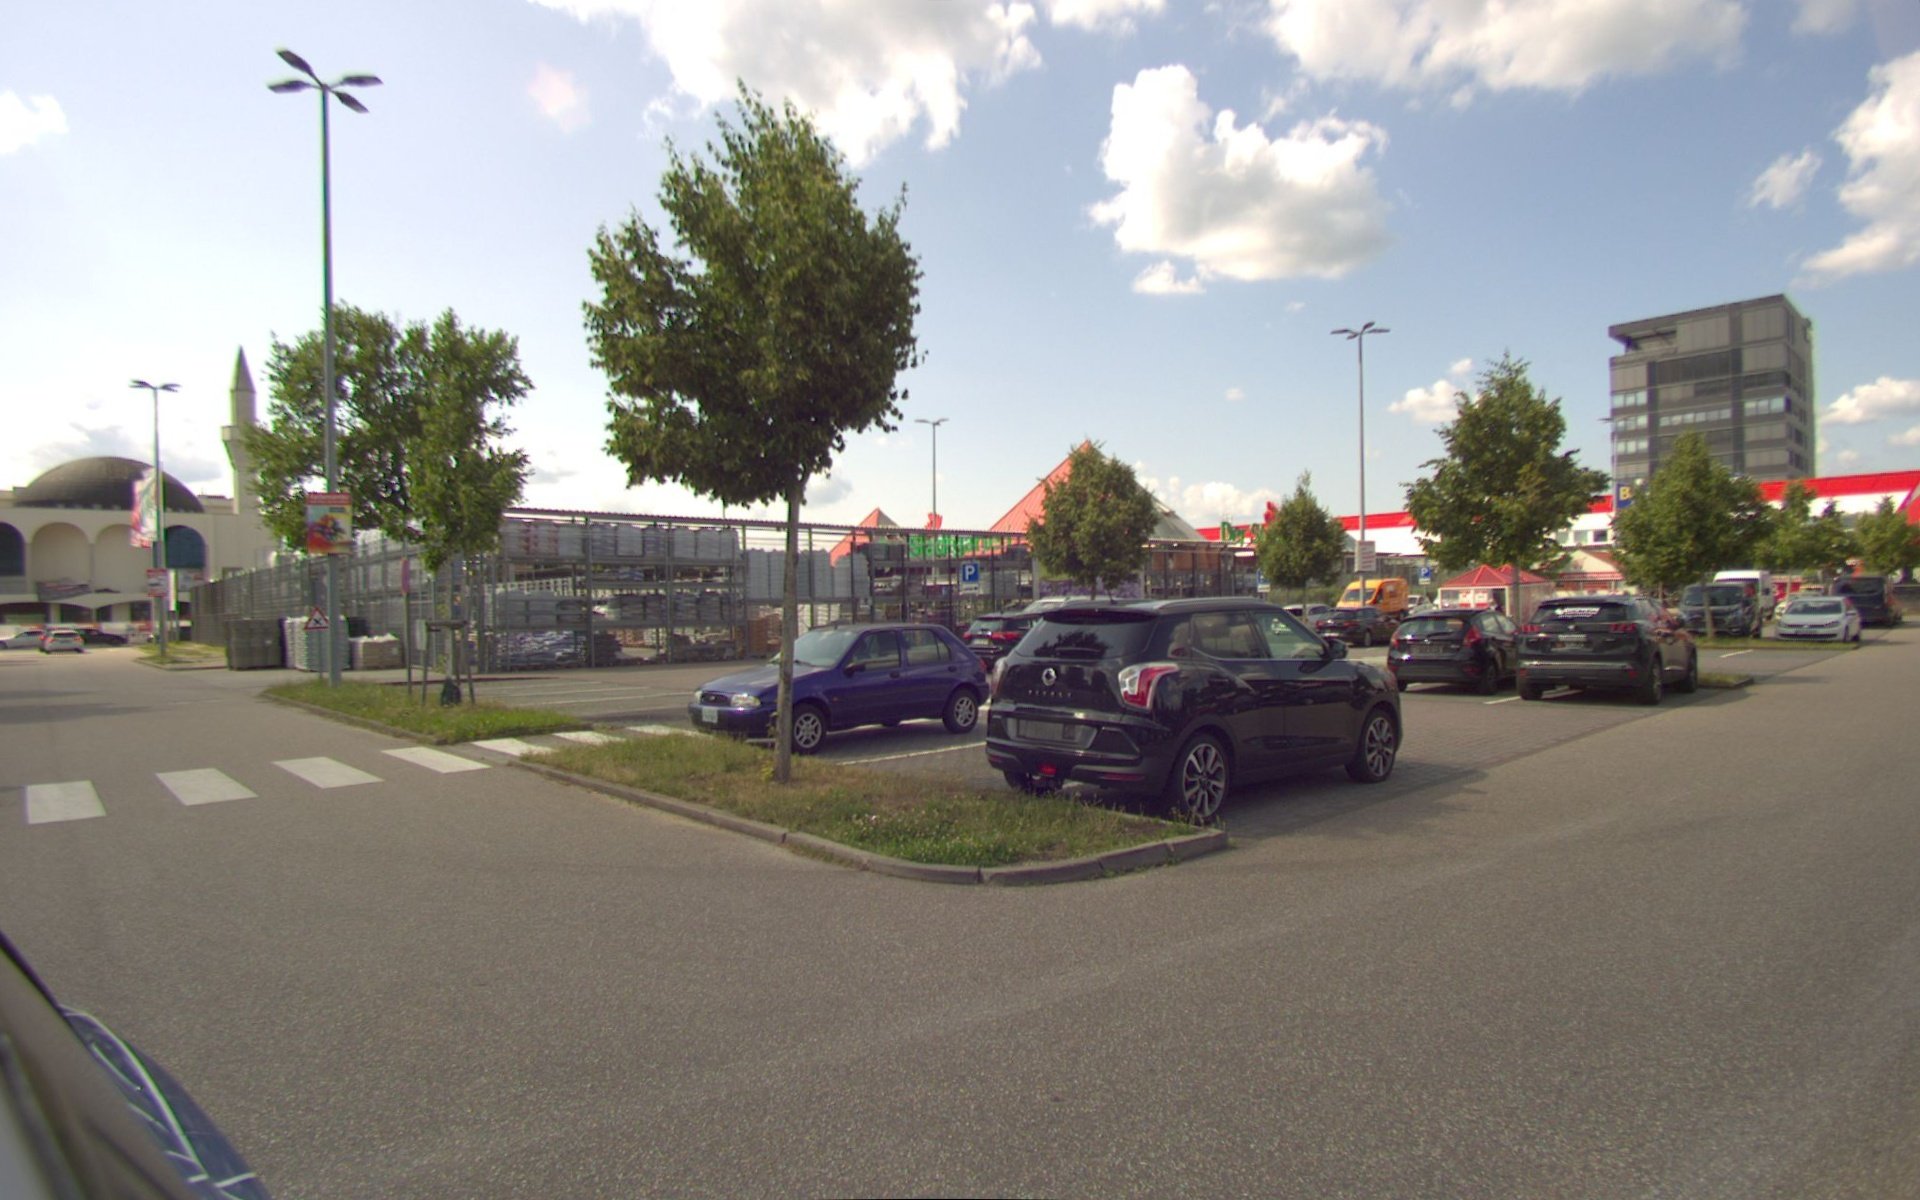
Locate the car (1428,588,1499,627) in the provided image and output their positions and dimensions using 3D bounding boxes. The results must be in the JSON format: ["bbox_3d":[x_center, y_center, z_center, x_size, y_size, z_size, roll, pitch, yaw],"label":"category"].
[{"bbox_3d":[27.991,0.388,56.163,4.736,2.028,2.002,0,2,-44],"label":"car"}]

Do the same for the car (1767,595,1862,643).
[{"bbox_3d":[27.063,0.575,32.017,3.506,1.397,1.746,-1,-1,-41],"label":"car"}]

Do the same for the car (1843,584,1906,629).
[{"bbox_3d":[34.925,0.219,38.689,1.696,1.626,2.620,2,2,42],"label":"car"}]

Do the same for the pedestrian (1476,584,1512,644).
[{"bbox_3d":[18.343,0.484,34.762,0.902,2.029,0.818,0,-1,-45],"label":"pedestrian"}]

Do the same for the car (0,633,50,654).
[{"bbox_3d":[-72.540,3.352,77.559,4.129,1.521,1.794,-1,-1,-42],"label":"car"}]

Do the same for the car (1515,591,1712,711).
[{"bbox_3d":[10.437,0.712,16.048,4.024,1.637,1.785,-1,-1,-45],"label":"car"}]

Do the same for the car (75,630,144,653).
[{"bbox_3d":[-66.359,3.205,78.982,1.908,1.658,3.942,-2,-1,45],"label":"car"}]

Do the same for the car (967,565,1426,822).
[{"bbox_3d":[2.105,0.595,8.397,3.902,1.637,1.738,-1,-1,-41],"label":"car"}]

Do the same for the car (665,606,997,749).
[{"bbox_3d":[-1.405,0.804,12.023,1.621,1.378,3.709,-2,-1,44],"label":"car"}]

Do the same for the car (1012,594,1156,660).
[{"bbox_3d":[4.275,0.858,34.286,5.109,2.029,2.002,-1,-1,-43],"label":"car"}]

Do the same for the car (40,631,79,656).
[{"bbox_3d":[-56.837,2.734,63.934,1.782,1.475,4.334,-1,-1,-41],"label":"car"}]

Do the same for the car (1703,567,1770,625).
[{"bbox_3d":[37.338,-0.183,48.598,2.238,2.656,4.269,-1,0,42],"label":"car"}]

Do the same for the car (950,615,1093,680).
[{"bbox_3d":[1.559,1.126,24.929,1.812,1.415,3.307,-2,-1,44],"label":"car"}]

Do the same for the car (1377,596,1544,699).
[{"bbox_3d":[9.054,0.776,18.181,1.783,1.637,3.656,-2,-1,41],"label":"car"}]

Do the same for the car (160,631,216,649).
[{"bbox_3d":[-64.612,3.331,84.681,3.652,1.377,1.654,0,-2,-41],"label":"car"}]

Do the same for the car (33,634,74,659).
[{"bbox_3d":[-61.648,3.146,68.813,1.893,1.630,4.377,0,-2,-44],"label":"car"}]

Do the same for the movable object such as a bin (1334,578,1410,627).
[{"bbox_3d":[22.355,0.128,54.815,2.130,2.513,5.263,-2,-1,42],"label":"movable object such as a bin"}]
